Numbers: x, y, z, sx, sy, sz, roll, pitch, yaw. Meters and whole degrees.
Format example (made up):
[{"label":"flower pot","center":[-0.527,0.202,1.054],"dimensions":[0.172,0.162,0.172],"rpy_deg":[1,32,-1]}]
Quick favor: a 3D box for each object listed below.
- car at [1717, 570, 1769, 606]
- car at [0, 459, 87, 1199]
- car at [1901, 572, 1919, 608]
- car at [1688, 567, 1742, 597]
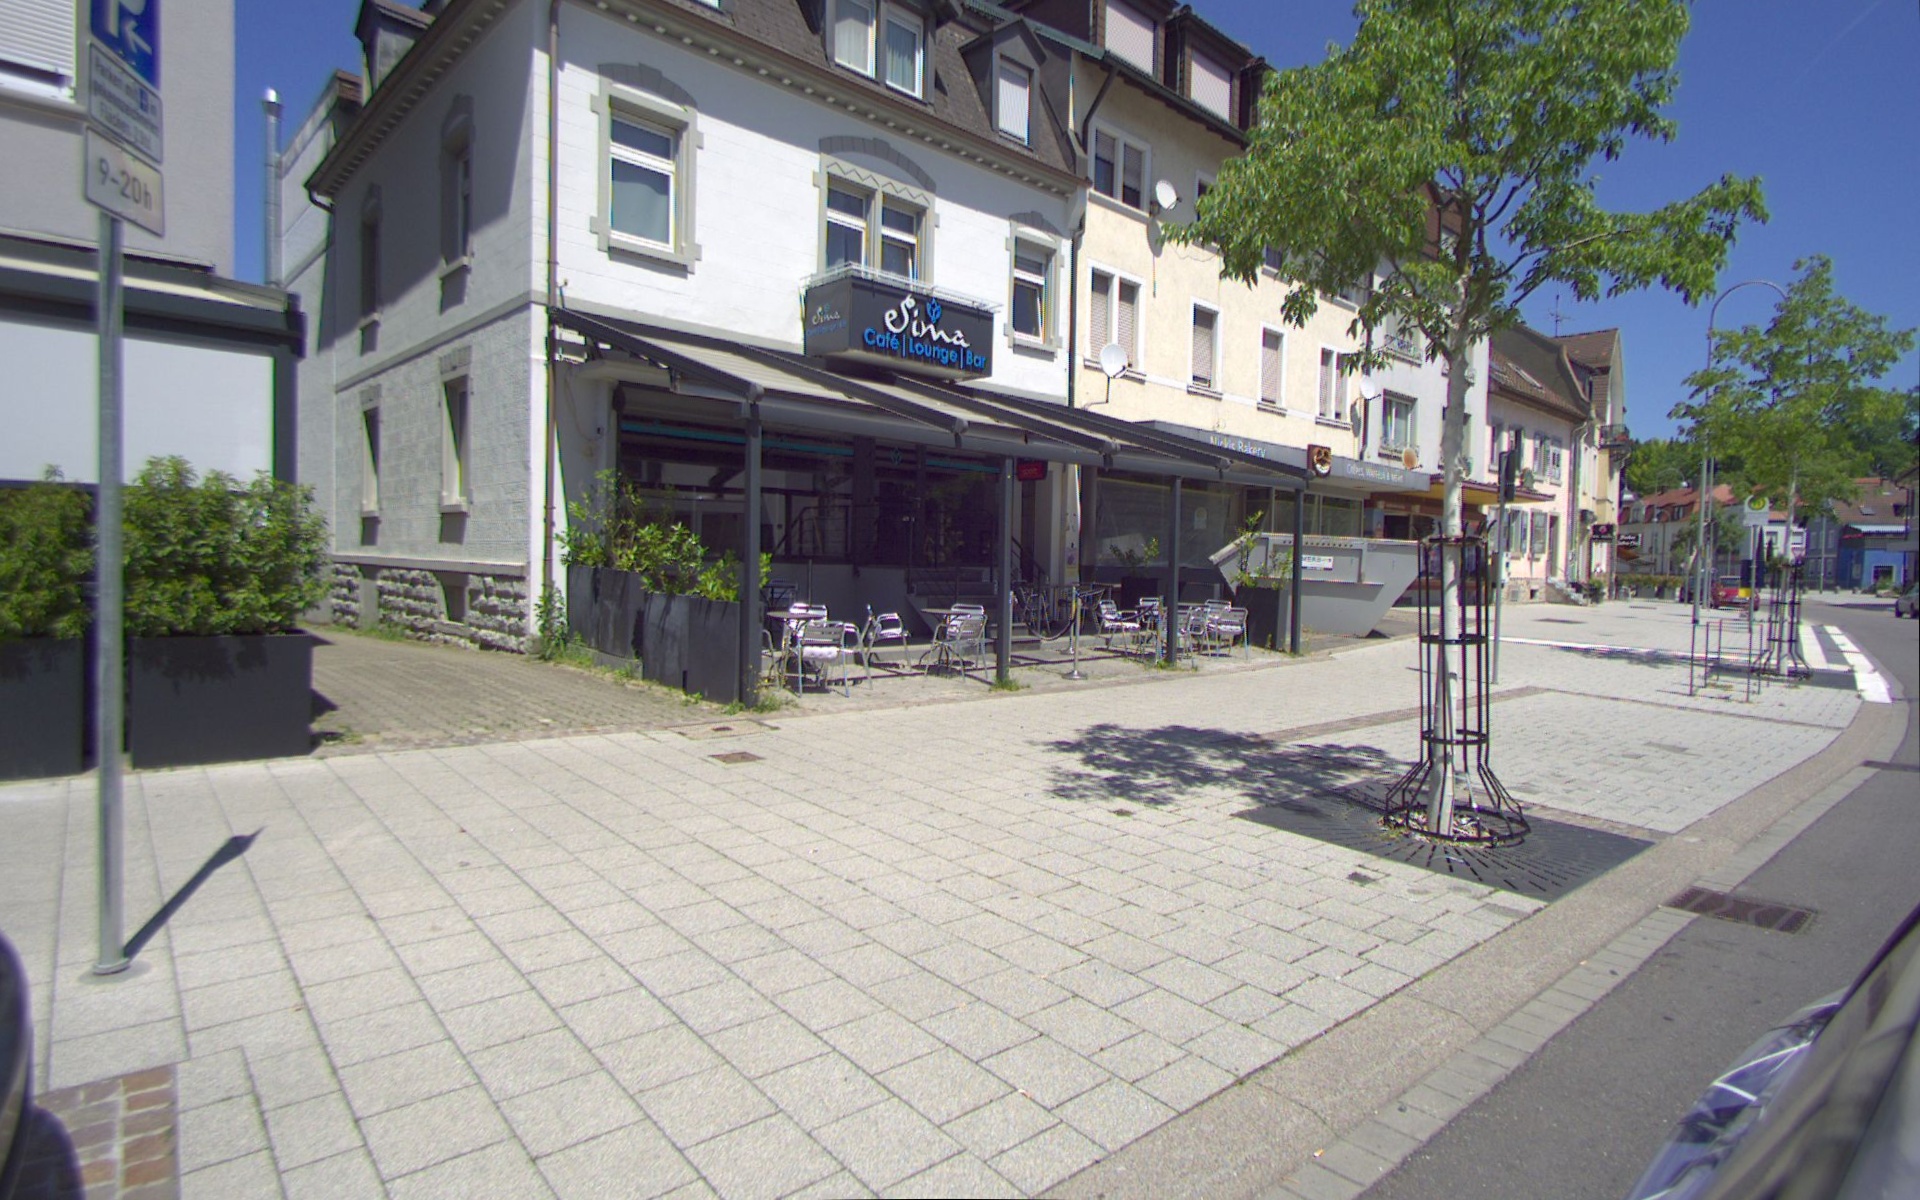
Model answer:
[{"label":"car","center":[34.965,-0.560,45.261],"dimensions":[1.674,1.533,3.344],"rpy_deg":[2,2,36]},{"label":"car","center":[-3.161,0.563,0.480],"dimensions":[4.021,1.499,1.839],"rpy_deg":[-1,5,-38]},{"label":"car","center":[38.480,-0.352,39.474],"dimensions":[1.658,1.413,3.808],"rpy_deg":[3,3,29]},{"label":"car","center":[41.716,-1.029,56.019],"dimensions":[1.721,1.490,4.280],"rpy_deg":[5,4,29]}]
